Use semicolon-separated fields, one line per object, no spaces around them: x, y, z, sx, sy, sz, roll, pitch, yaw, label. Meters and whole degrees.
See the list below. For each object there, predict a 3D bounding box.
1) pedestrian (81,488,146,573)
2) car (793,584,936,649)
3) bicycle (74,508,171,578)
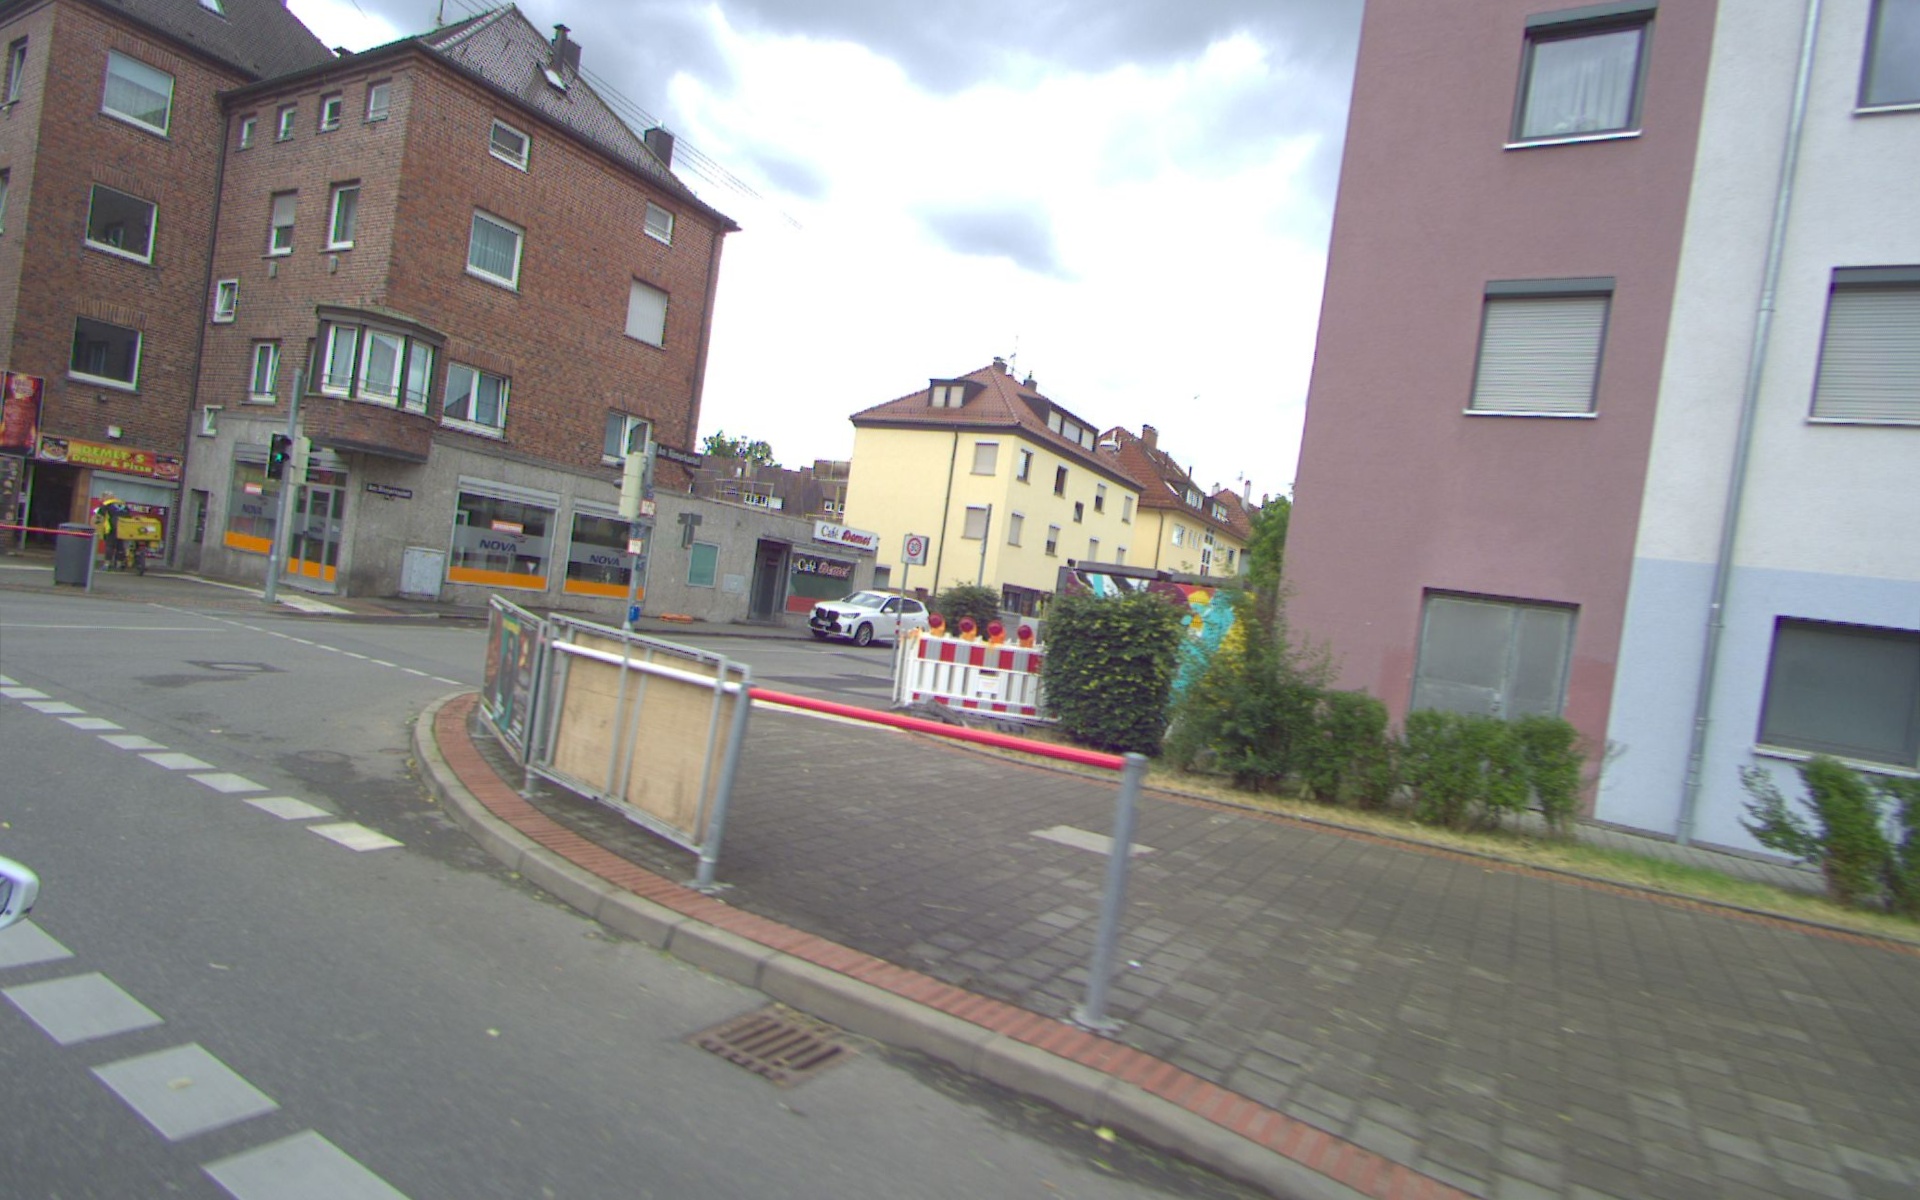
-17.979;-1.475;21.366;0.759;1.678;0.788;7;2;32;pedestrian
-2.919;0.564;31.783;1.957;1.630;4.522;6;-1;34;car
-17.579;-1.203;21.108;2.352;1.208;0.761;7;0;32;bicycle
